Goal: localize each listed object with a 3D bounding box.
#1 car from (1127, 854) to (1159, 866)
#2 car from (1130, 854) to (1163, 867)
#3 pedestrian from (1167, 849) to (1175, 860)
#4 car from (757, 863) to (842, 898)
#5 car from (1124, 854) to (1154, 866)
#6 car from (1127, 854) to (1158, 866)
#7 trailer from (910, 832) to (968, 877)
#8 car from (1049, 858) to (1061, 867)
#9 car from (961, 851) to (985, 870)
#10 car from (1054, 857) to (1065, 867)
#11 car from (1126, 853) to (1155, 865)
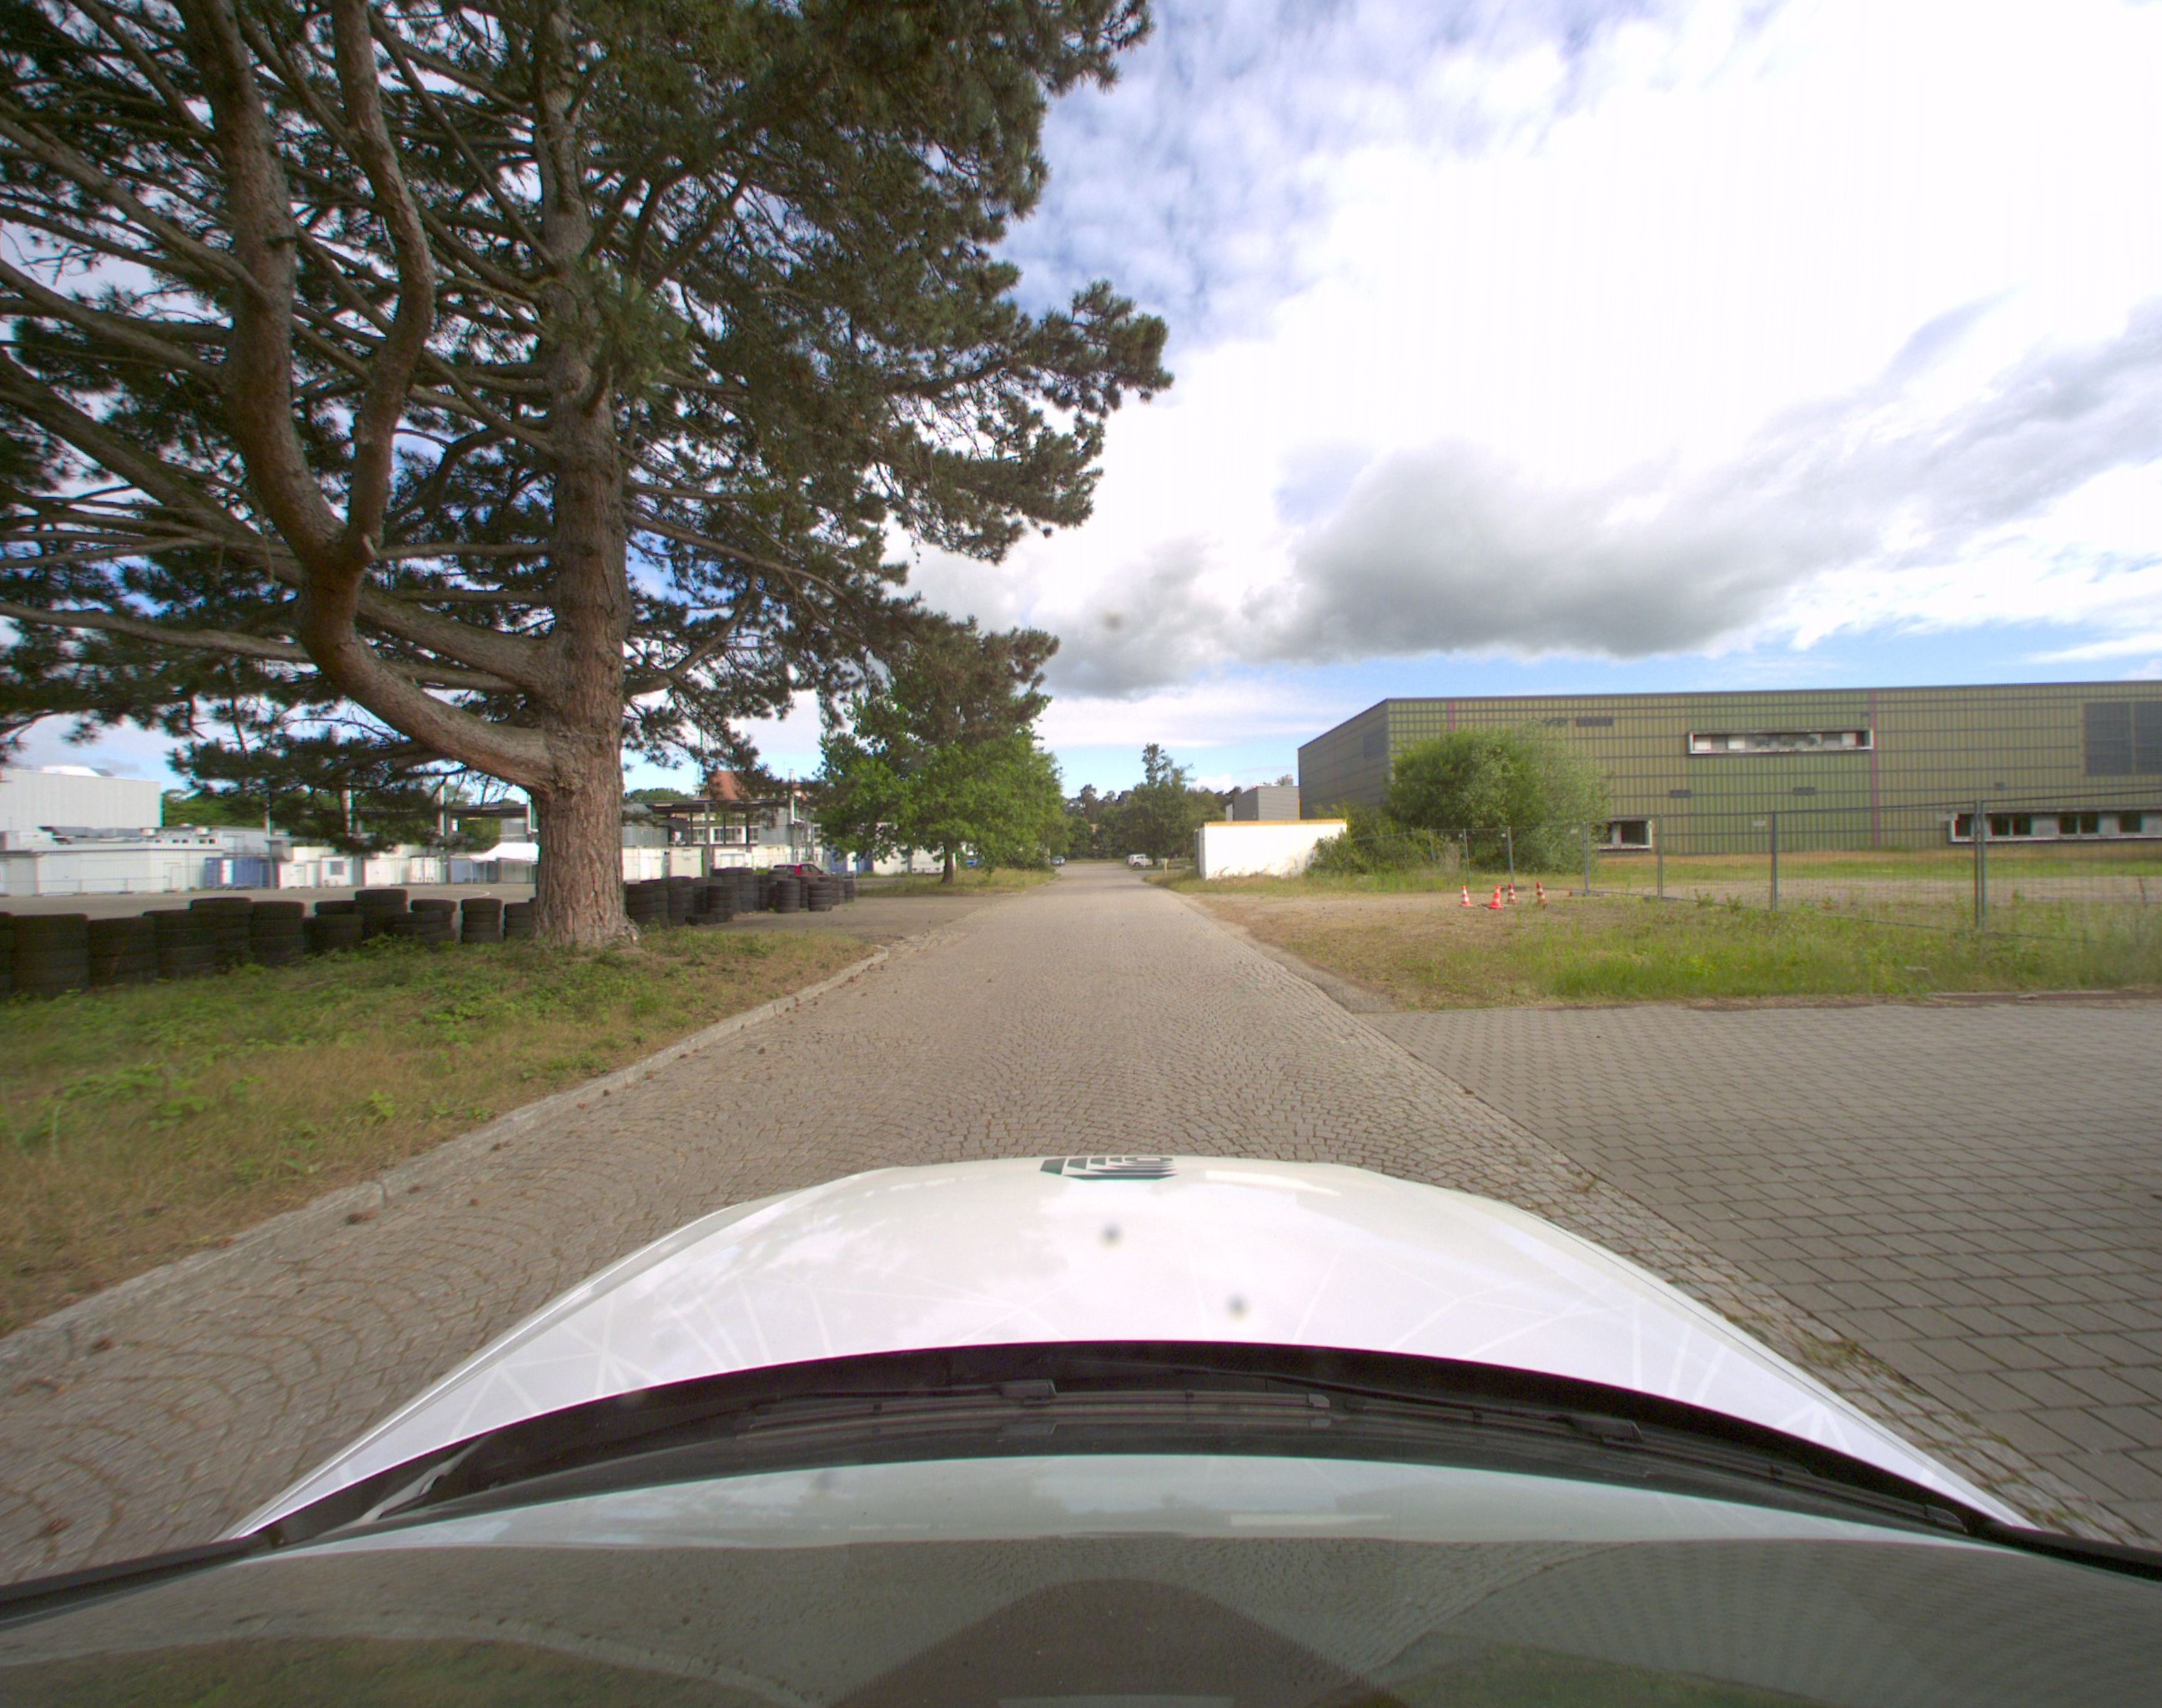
[{"bbox_3d":[7.874,0.789,103.750,3.972,1.455,1.698,-2,0,1],"label":"car"},{"bbox_3d":[8.110,0.827,101.577,3.972,1.455,2.001,-1,-1,1],"label":"car"},{"bbox_3d":[12.355,0.093,112.143,0.938,1.568,0.970,-2,0,-4],"label":"pedestrian"},{"bbox_3d":[-12.450,1.139,36.302,1.814,1.431,4.227,-1,0,7],"label":"car"},{"bbox_3d":[7.972,0.846,111.696,3.972,1.455,1.770,-2,0,1],"label":"car"},{"bbox_3d":[8.015,0.791,106.790,3.972,1.455,1.770,-2,0,1],"label":"car"},{"bbox_3d":[-12.853,0.054,74.707,2.645,3.706,10.732,-2,0,4],"label":"trailer"},{"bbox_3d":[-3.933,1.302,125.750,1.744,1.364,3.998,-2,0,-1],"label":"car"},{"bbox_3d":[-15.118,0.856,114.340,1.984,2.523,5.625,-2,0,5],"label":"car"},{"bbox_3d":[-3.534,1.333,135.979,1.744,1.454,3.998,-2,0,-1],"label":"car"},{"bbox_3d":[8.383,0.749,114.907,3.977,1.533,1.998,-2,0,-3],"label":"car"}]
